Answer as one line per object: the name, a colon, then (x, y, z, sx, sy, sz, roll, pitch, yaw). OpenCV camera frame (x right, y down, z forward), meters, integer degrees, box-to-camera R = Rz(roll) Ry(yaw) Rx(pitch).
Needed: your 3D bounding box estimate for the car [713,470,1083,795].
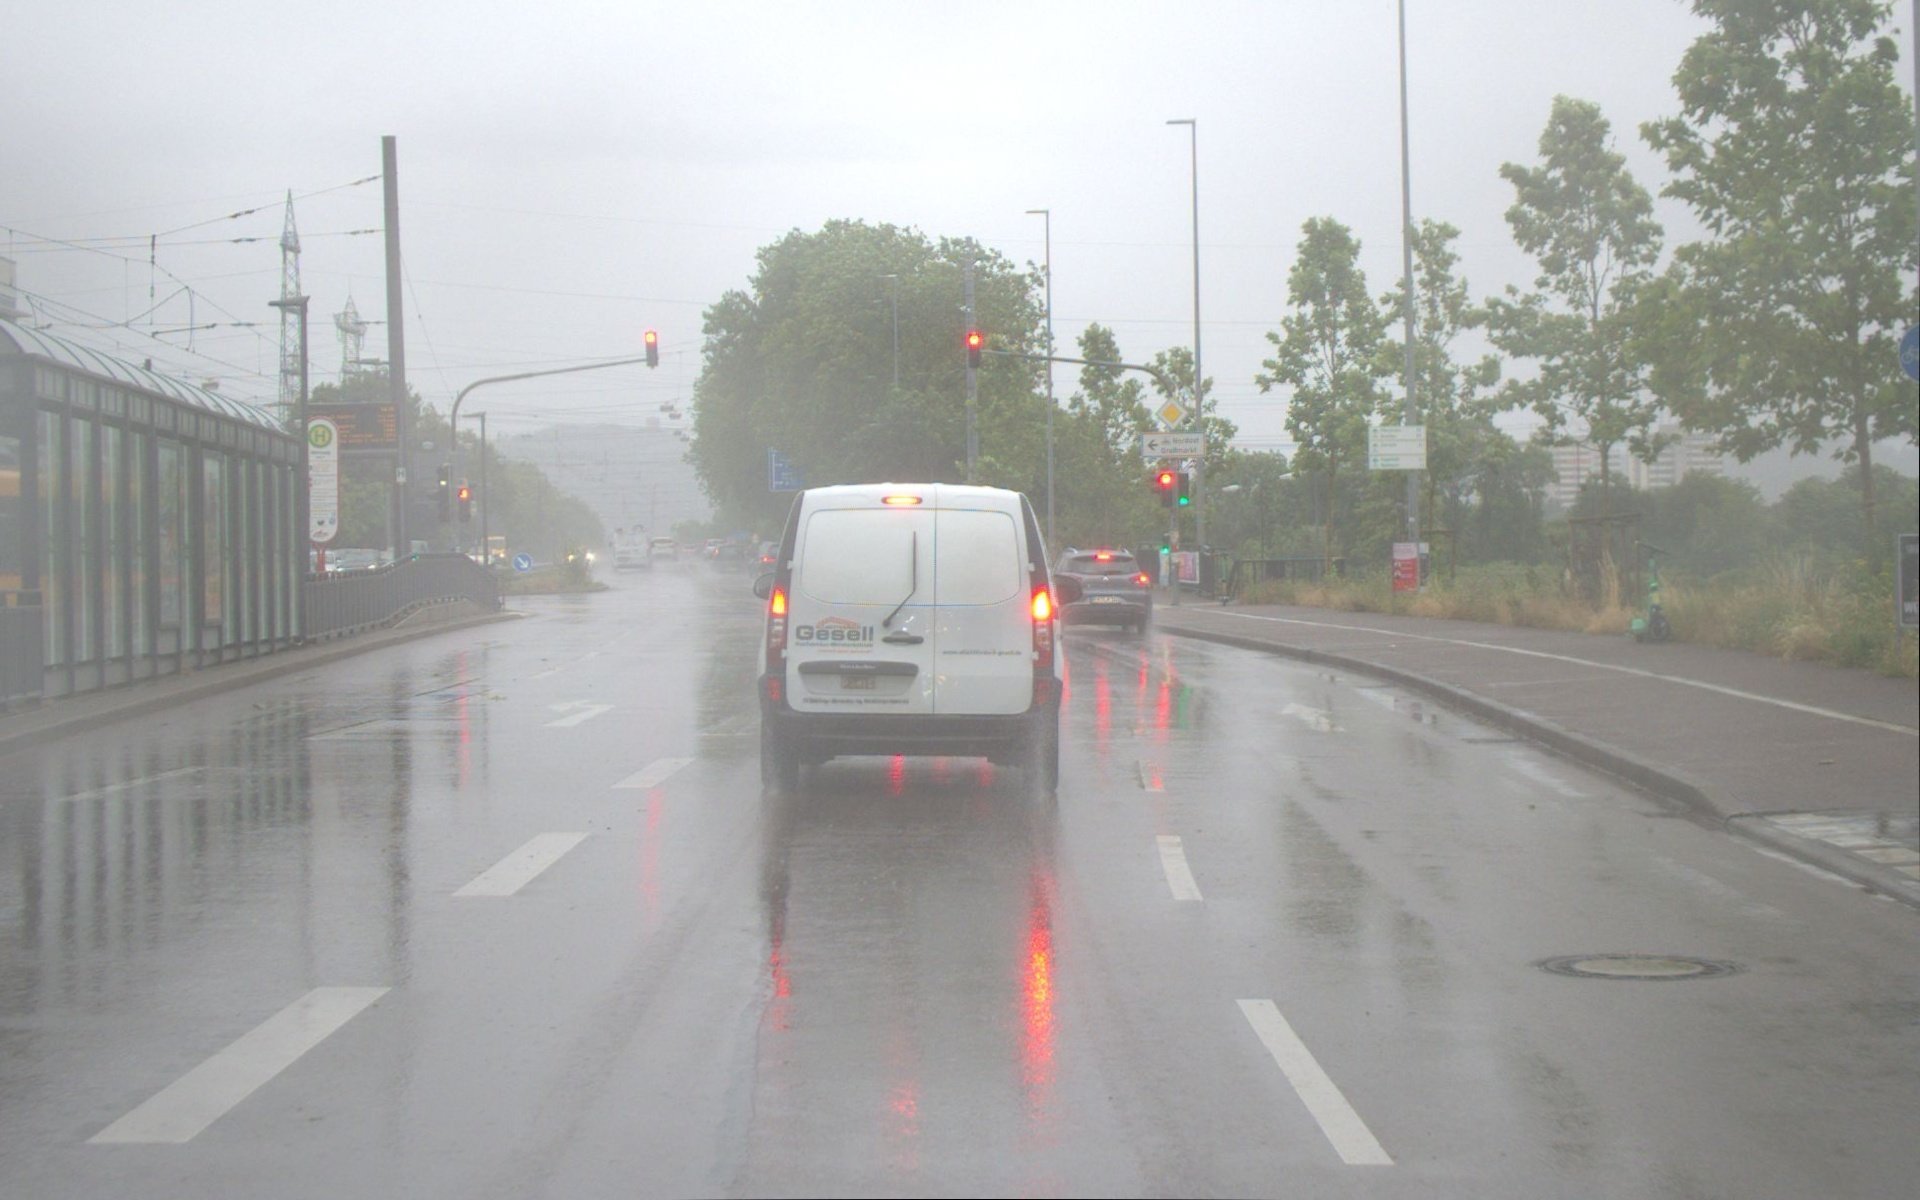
car: (-0.476, 0.155, 21.243, 2.024, 1.769, 4.275, 1, 1, -4)

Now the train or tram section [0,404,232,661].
train or tram section: (-17.401, -1.211, 62.948, 3.770, 4.023, 27.097, 1, 1, -3)

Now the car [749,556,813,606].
car: (-6.519, -0.708, 125.102, 1.993, 1.744, 4.001, 1, 1, -7)

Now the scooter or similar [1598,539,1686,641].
scooter or similar: (8.218, -0.127, 41.467, 0.642, 1.191, 1.563, -1, 1, -4)

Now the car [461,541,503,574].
car: (-30.092, -2.659, 216.675, 1.993, 2.007, 4.000, 1, 1, 1)

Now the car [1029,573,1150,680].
car: (2.219, 0.427, 59.699, 1.993, 1.744, 4.000, 1, 1, 1)

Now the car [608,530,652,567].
car: (-16.311, -2.549, 169.662, 1.993, 1.744, 4.001, 1, 1, -7)
